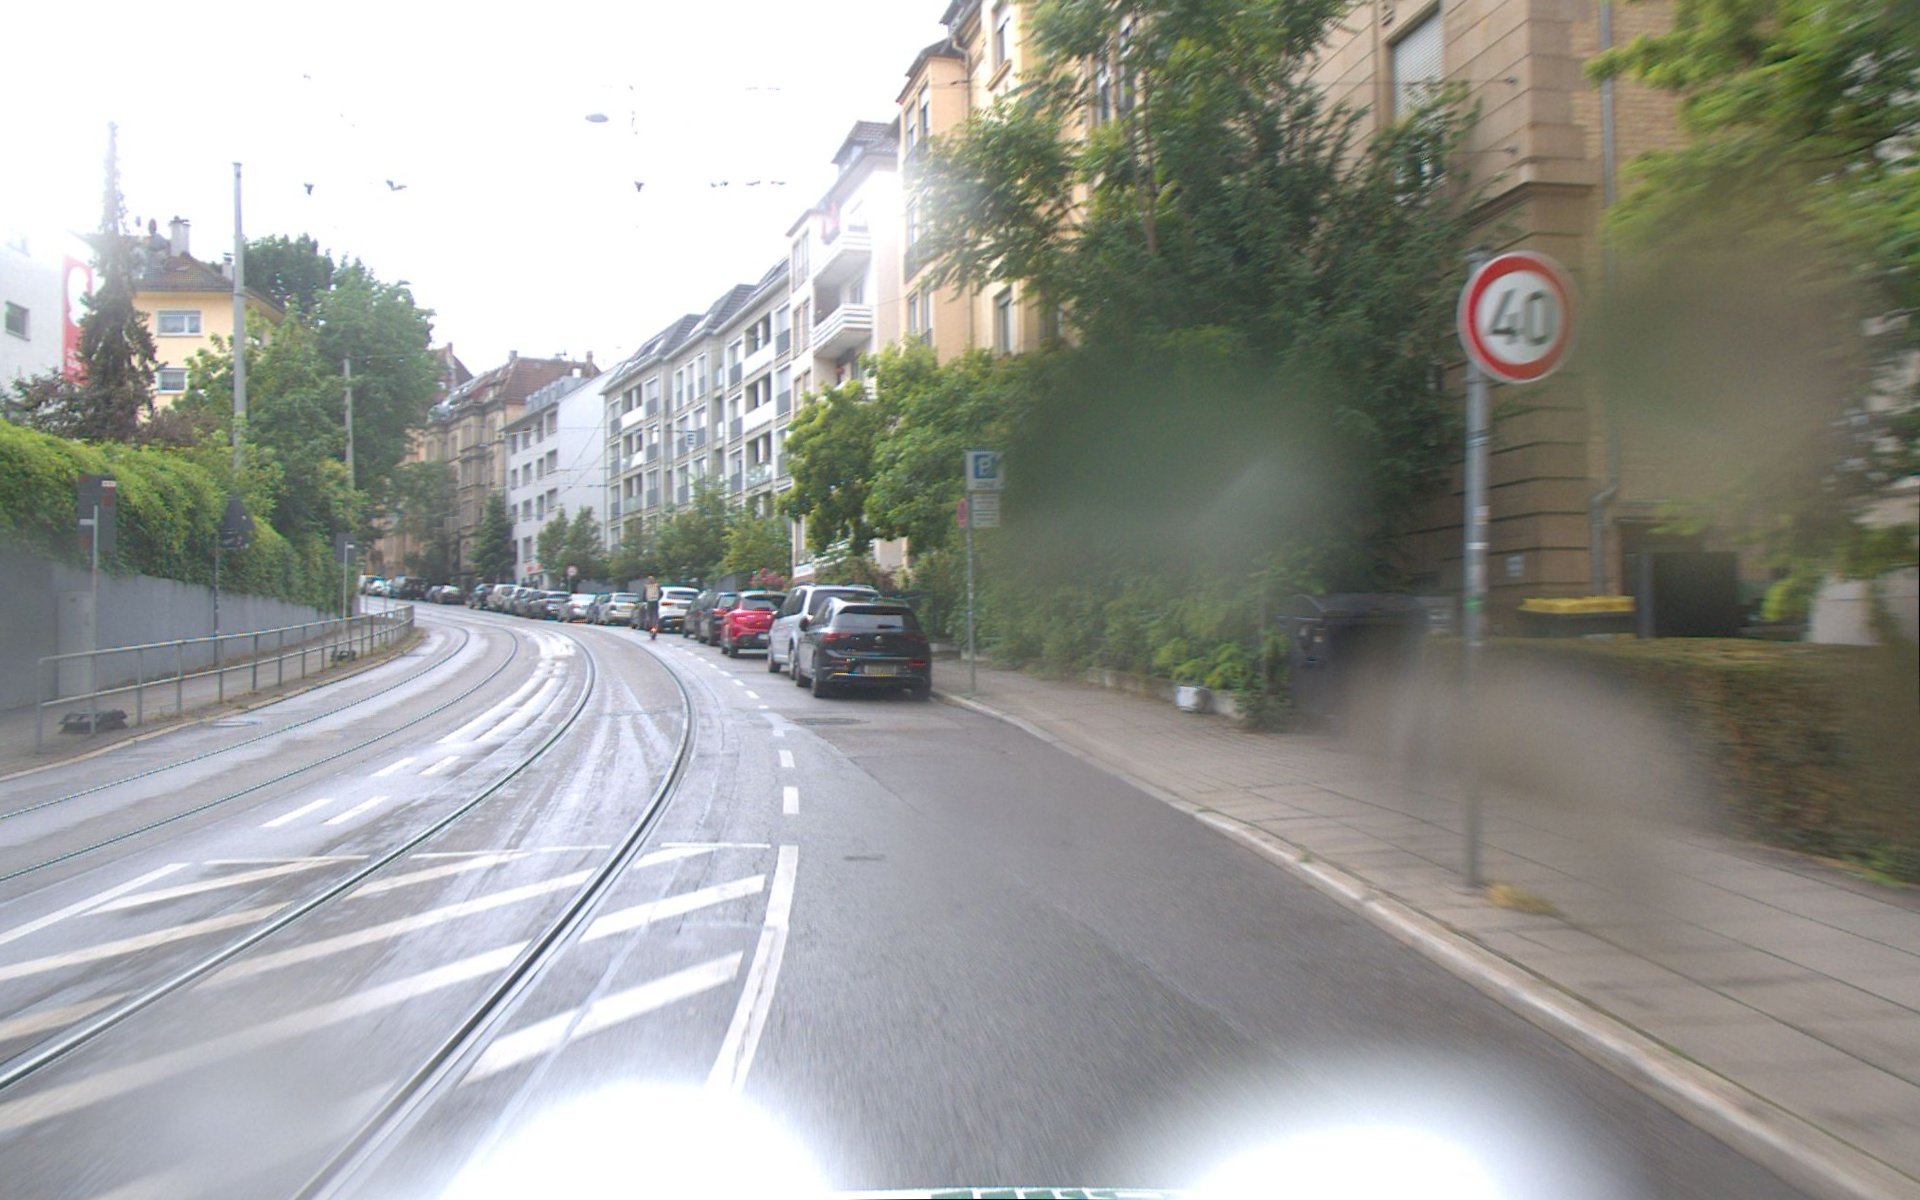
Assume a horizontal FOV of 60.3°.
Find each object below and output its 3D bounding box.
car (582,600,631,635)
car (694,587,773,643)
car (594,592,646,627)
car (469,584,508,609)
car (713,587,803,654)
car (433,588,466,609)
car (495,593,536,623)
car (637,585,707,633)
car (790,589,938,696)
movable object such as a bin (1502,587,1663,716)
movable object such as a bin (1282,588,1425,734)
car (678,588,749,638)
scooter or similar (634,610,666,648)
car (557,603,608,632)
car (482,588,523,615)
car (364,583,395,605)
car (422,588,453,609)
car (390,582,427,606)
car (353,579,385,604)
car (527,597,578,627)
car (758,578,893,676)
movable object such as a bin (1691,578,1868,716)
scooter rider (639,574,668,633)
[{"bbox_3d":[-17.057,0.834,79.688,1.678,1.538,3.689,2,0,-22],"label":"car"},{"bbox_3d":[-6.405,0.399,46.431,1.656,1.462,4.047,1,0,-15],"label":"car"},{"bbox_3d":[-15.538,0.451,75.474,1.637,1.497,4.480,2,-1,-20],"label":"car"},{"bbox_3d":[-33.006,-0.256,115.728,1.746,1.713,4.210,2,0,-27],"label":"car"},{"bbox_3d":[-4.760,0.452,38.629,1.692,1.462,3.828,1,0,-13],"label":"car"},{"bbox_3d":[-39.455,-0.101,127.819,1.746,1.544,4.103,2,0,-27],"label":"car"},{"bbox_3d":[-28.504,0.495,105.903,1.745,1.818,4.213,2,0,-26],"label":"car"},{"bbox_3d":[-10.484,0.299,60.031,1.810,1.600,4.224,2,0,-19],"label":"car"},{"bbox_3d":[-1.552,0.596,25.320,1.734,1.415,3.990,1,1,-11],"label":"car"},{"bbox_3d":[6.795,0.544,18.116,1.195,1.331,1.165,-2,0,-11],"label":"movable object such as a bin"},{"bbox_3d":[4.127,0.614,17.381,1.206,1.427,0.819,-2,2,-18],"label":"movable object such as a bin"},{"bbox_3d":[-7.738,0.379,51.600,1.532,1.462,4.282,1,0,-17],"label":"car"},{"bbox_3d":[-9.329,0.865,49.737,0.506,1.068,1.995,3,-1,-22],"label":"scooter or similar"},{"bbox_3d":[-19.765,0.898,86.436,1.739,1.460,4.604,0,0,-24],"label":"car"},{"bbox_3d":[-30.822,0.094,111.321,1.747,1.713,4.208,2,0,-28],"label":"car"},{"bbox_3d":[-52.616,-0.533,149.784,2.005,1.856,4.100,2,0,-29],"label":"car"},{"bbox_3d":[-41.745,-0.155,132.050,1.632,1.562,3.851,-2,2,-29],"label":"car"},{"bbox_3d":[-46.755,-0.511,140.154,2.008,1.856,4.321,2,0,-31],"label":"car"},{"bbox_3d":[-55.086,-0.783,154.152,2.007,2.257,4.096,2,0,-31],"label":"car"},{"bbox_3d":[-23.538,0.676,95.508,1.748,1.643,4.205,0,0,-30],"label":"car"},{"bbox_3d":[-2.541,0.458,30.323,1.737,1.631,4.271,-1,0,-15],"label":"car"},{"bbox_3d":[9.156,0.505,18.526,1.208,1.450,1.304,-2,0,-11],"label":"movable object such as a bin"},{"bbox_3d":[-9.251,0.111,49.863,0.614,1.735,0.838,3,-1,-23],"label":"scooter rider"}]
